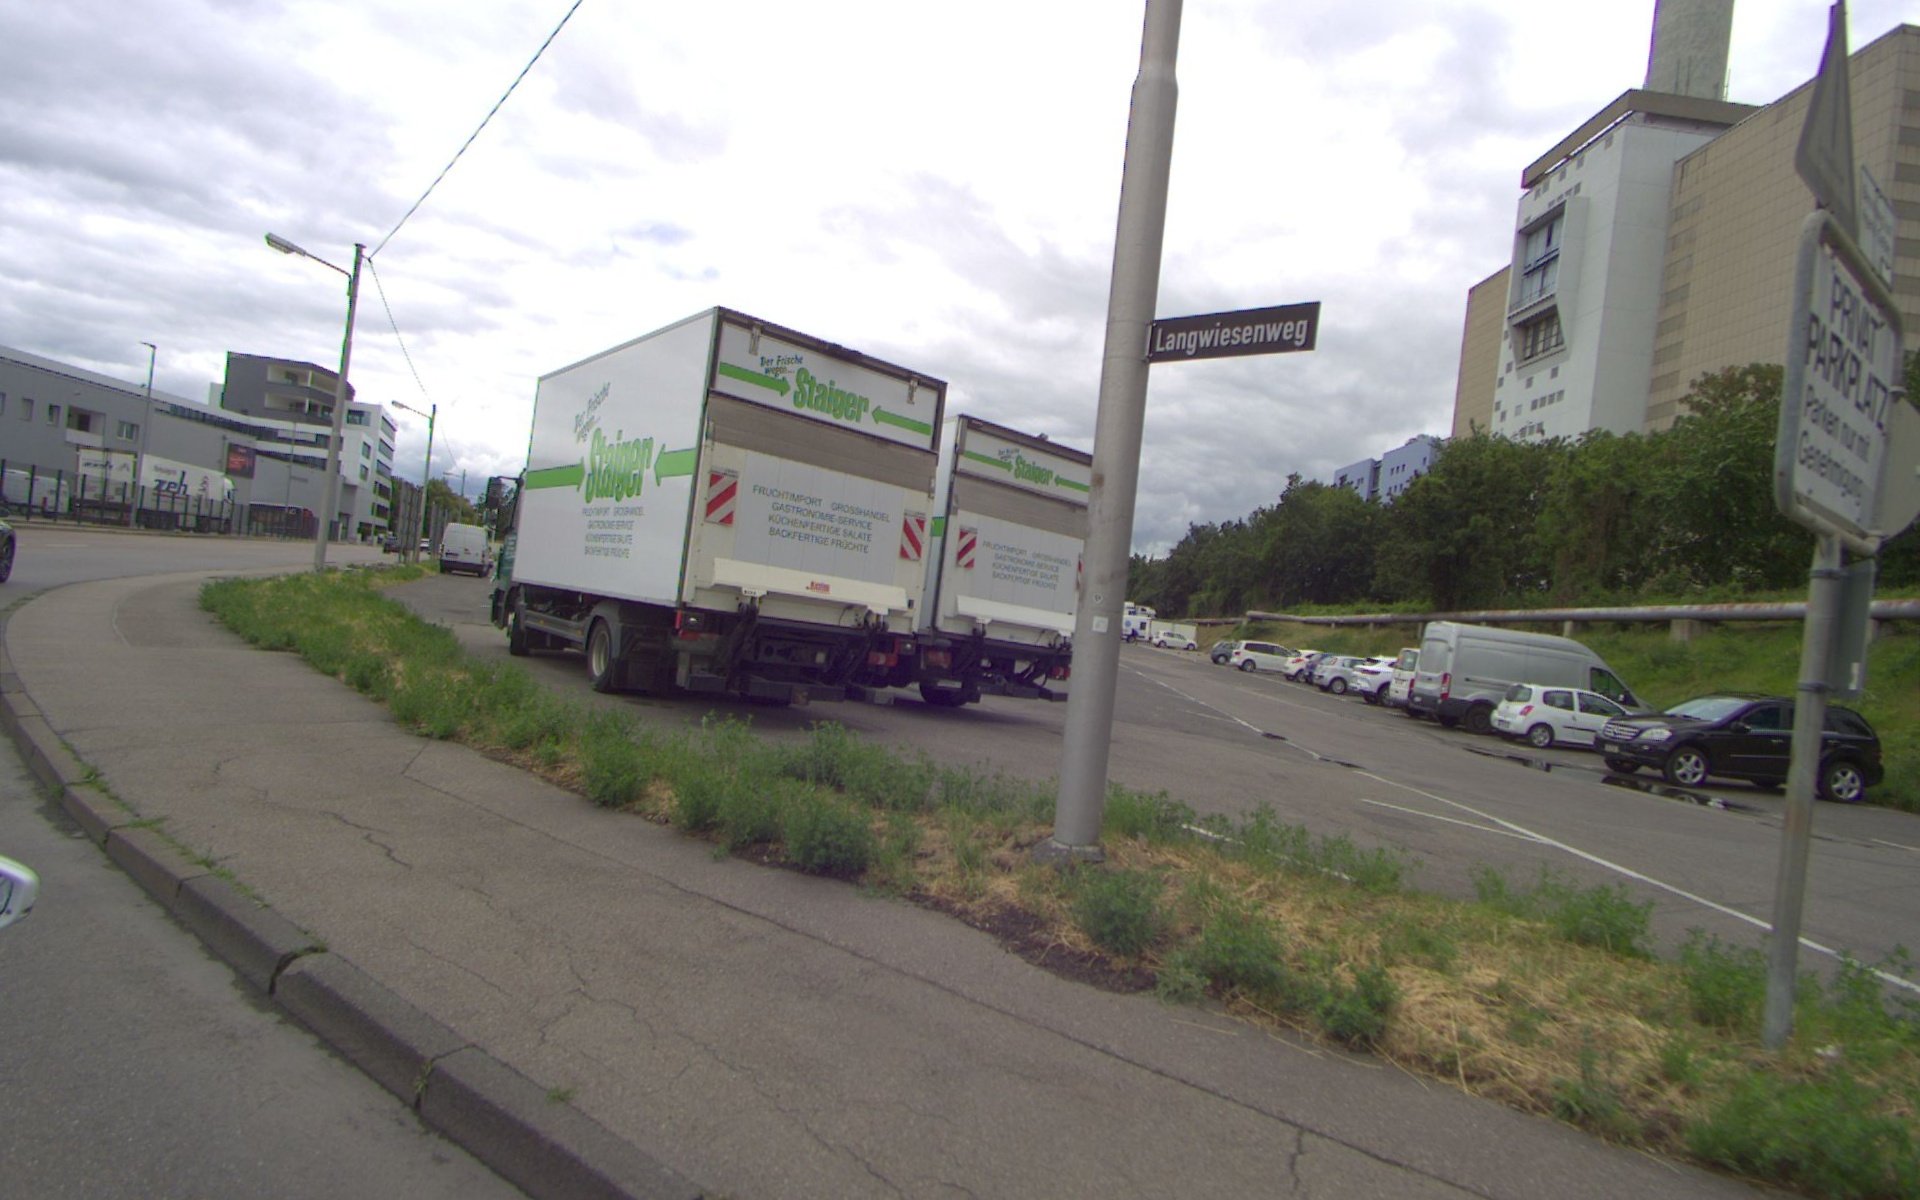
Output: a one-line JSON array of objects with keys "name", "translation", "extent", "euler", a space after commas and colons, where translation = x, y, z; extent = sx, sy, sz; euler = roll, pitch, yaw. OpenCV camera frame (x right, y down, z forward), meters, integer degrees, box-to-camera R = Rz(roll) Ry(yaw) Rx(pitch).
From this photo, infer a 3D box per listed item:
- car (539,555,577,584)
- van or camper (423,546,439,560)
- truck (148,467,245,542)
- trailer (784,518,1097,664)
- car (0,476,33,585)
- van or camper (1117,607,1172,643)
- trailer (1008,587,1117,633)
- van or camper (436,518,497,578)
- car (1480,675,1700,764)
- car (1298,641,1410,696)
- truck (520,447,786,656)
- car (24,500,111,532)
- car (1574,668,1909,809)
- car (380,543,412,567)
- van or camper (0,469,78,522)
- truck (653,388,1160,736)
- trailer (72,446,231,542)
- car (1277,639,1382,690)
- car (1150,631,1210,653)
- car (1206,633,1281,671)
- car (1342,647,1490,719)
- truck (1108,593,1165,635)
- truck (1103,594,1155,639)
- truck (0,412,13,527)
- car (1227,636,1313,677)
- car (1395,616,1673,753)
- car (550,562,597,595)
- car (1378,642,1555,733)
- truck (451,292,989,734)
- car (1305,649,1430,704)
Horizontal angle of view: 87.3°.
[{"name": "car", "translation": [-26.523, -2.029, 66.349], "extent": [1.872, 1.632, 4.401], "euler": [7, -1, -26]}, {"name": "van or camper", "translation": [-95.760, -8.502, 182.117], "extent": [1.974, 2.284, 3.977], "euler": [6, 0, -24]}, {"name": "truck", "translation": [-49.142, -6.001, 64.983], "extent": [3.091, 4.172, 6.909], "euler": [2, 1, -21]}, {"name": "trailer", "translation": [-1.282, -0.579, 36.551], "extent": [3.044, 4.028, 12.936], "euler": [5, 1, -44]}, {"name": "car", "translation": [-15.368, -1.150, 14.542], "extent": [1.981, 1.704, 4.333], "euler": [8, 0, -32]}, {"name": "van or camper", "translation": [18.067, 2.462, 98.688], "extent": [4.899, 2.973, 2.000], "euler": [6, 0, 2]}, {"name": "trailer", "translation": [11.367, 1.081, 111.924], "extent": [11.732, 4.458, 1.968], "euler": [3, 0, 2]}, {"name": "van or camper", "translation": [-25.417, -2.624, 52.037], "extent": [2.233, 2.680, 6.082], "euler": [6, 0, -23]}, {"name": "car", "translation": [14.919, 2.802, 24.006], "extent": [3.924, 1.526, 1.870], "euler": [6, 0, 2]}, {"name": "car", "translation": [17.057, 2.939, 43.745], "extent": [3.925, 1.815, 2.000], "euler": [7, 0, 1]}, {"name": "truck", "translation": [-8.066, -1.234, 24.928], "extent": [2.962, 3.876, 10.336], "euler": [8, -1, -34]}, {"name": "car", "translation": [-61.028, -5.720, 68.875], "extent": [3.928, 1.571, 1.999], "euler": [6, 0, -5]}, {"name": "car", "translation": [14.480, 2.528, 18.856], "extent": [4.567, 1.905, 2.000], "euler": [6, 0, 0]}, {"name": "car", "translation": [-49.844, -3.999, 88.982], "extent": [1.975, 1.772, 3.975], "euler": [6, 1, -25]}, {"name": "van or camper", "translation": [-60.120, -6.767, 64.498], "extent": [4.899, 2.797, 2.102], "euler": [6, 0, -6]}, {"name": "truck", "translation": [-1.421, -0.511, 15.322], "extent": [3.049, 3.672, 8.518], "euler": [9, -2, -37]}, {"name": "trailer", "translation": [-46.808, -5.869, 58.901], "extent": [3.096, 4.317, 13.952], "euler": [2, 1, -21]}, {"name": "car", "translation": [16.910, 2.941, 46.219], "extent": [3.925, 1.815, 2.000], "euler": [7, 0, 1]}, {"name": "car", "translation": [19.387, 3.701, 88.776], "extent": [4.671, 1.393, 2.000], "euler": [7, -1, -2]}, {"name": "car", "translation": [17.284, 3.140, 61.497], "extent": [3.911, 1.778, 1.922], "euler": [7, 0, 5]}, {"name": "car", "translation": [15.326, 2.765, 33.994], "extent": [3.925, 1.815, 2.000], "euler": [7, 0, 1]}, {"name": "truck", "translation": [19.532, 1.534, 111.667], "extent": [5.860, 4.310, 1.955], "euler": [2, 0, 2]}, {"name": "truck", "translation": [18.197, 1.794, 108.293], "extent": [4.899, 4.268, 2.000], "euler": [6, 0, 2]}, {"name": "truck", "translation": [-34.429, -4.705, 32.602], "extent": [2.892, 4.070, 6.905], "euler": [6, 0, -23]}, {"name": "car", "translation": [16.524, 3.011, 53.840], "extent": [3.924, 1.660, 2.001], "euler": [7, 0, 5]}, {"name": "car", "translation": [14.791, 2.143, 26.213], "extent": [5.788, 2.813, 2.025], "euler": [6, 0, 2]}, {"name": "car", "translation": [-20.818, -1.171, 54.062], "extent": [1.873, 1.462, 4.401], "euler": [8, -2, -26]}, {"name": "car", "translation": [14.534, 2.487, 29.051], "extent": [3.925, 2.076, 2.000], "euler": [6, 0, 1]}, {"name": "truck", "translation": [-3.678, -0.824, 12.733], "extent": [3.047, 3.675, 8.516], "euler": [6, -1, -38]}, {"name": "car", "translation": [15.814, 2.943, 39.159], "extent": [3.925, 1.548, 2.000], "euler": [7, 0, 1]}]
